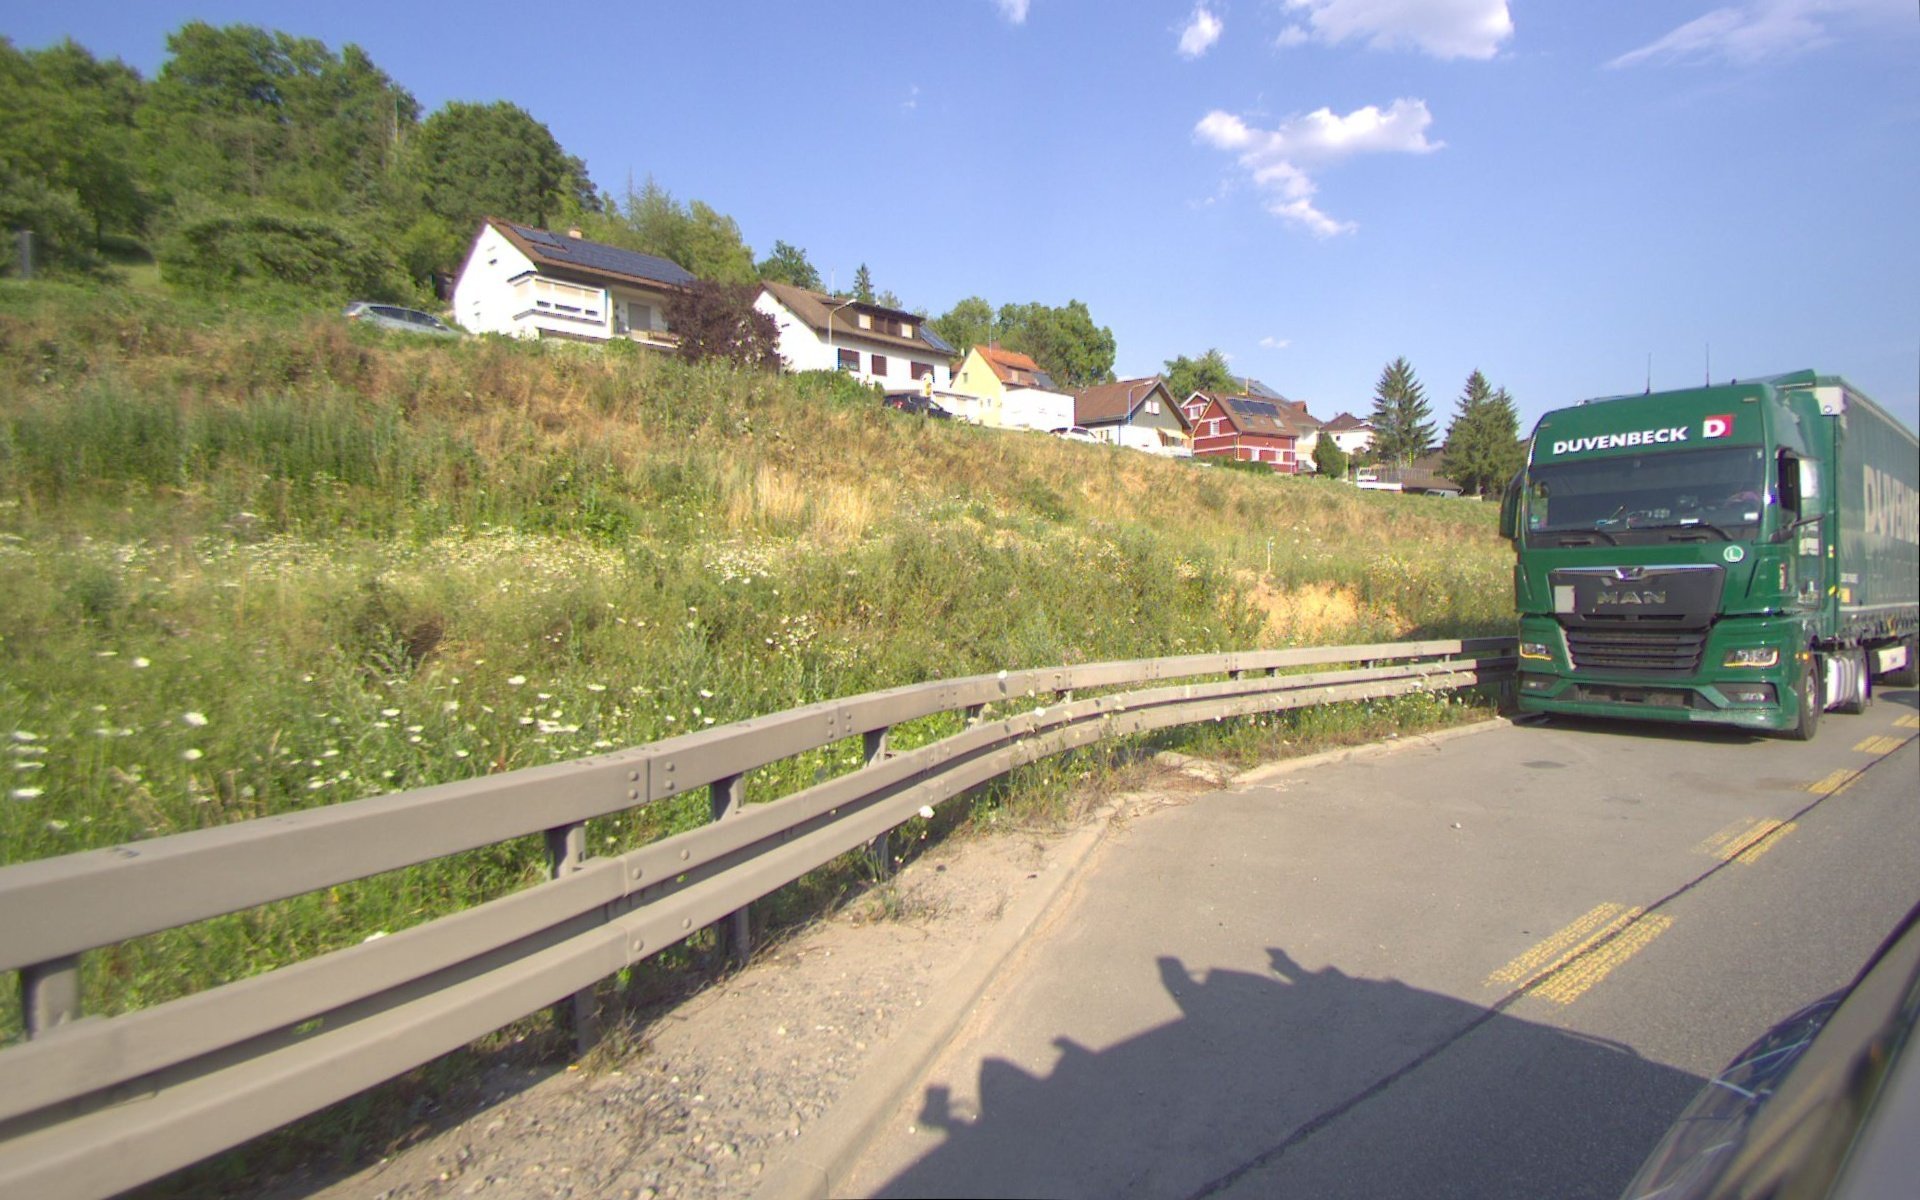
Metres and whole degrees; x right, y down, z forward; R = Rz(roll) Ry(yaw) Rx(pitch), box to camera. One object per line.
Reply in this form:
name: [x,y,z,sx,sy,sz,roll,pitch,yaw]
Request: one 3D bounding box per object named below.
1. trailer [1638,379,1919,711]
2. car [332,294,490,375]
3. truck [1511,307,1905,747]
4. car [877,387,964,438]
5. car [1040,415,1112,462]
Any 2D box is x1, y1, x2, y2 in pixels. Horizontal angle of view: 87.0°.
trailer: [14.746,-0.728,17.003,11.868,3.983,2.552,-1,0,-41]
car: [-16.952,-8.140,31.339,3.935,1.460,1.994,-1,1,-45]
truck: [9.243,-0.709,12.260,5.964,4.066,2.545,-1,0,-40]
car: [-1.828,-8.832,47.949,1.991,1.661,3.942,0,0,40]
car: [6.586,-9.122,57.303,3.933,2.039,1.995,0,0,-43]
